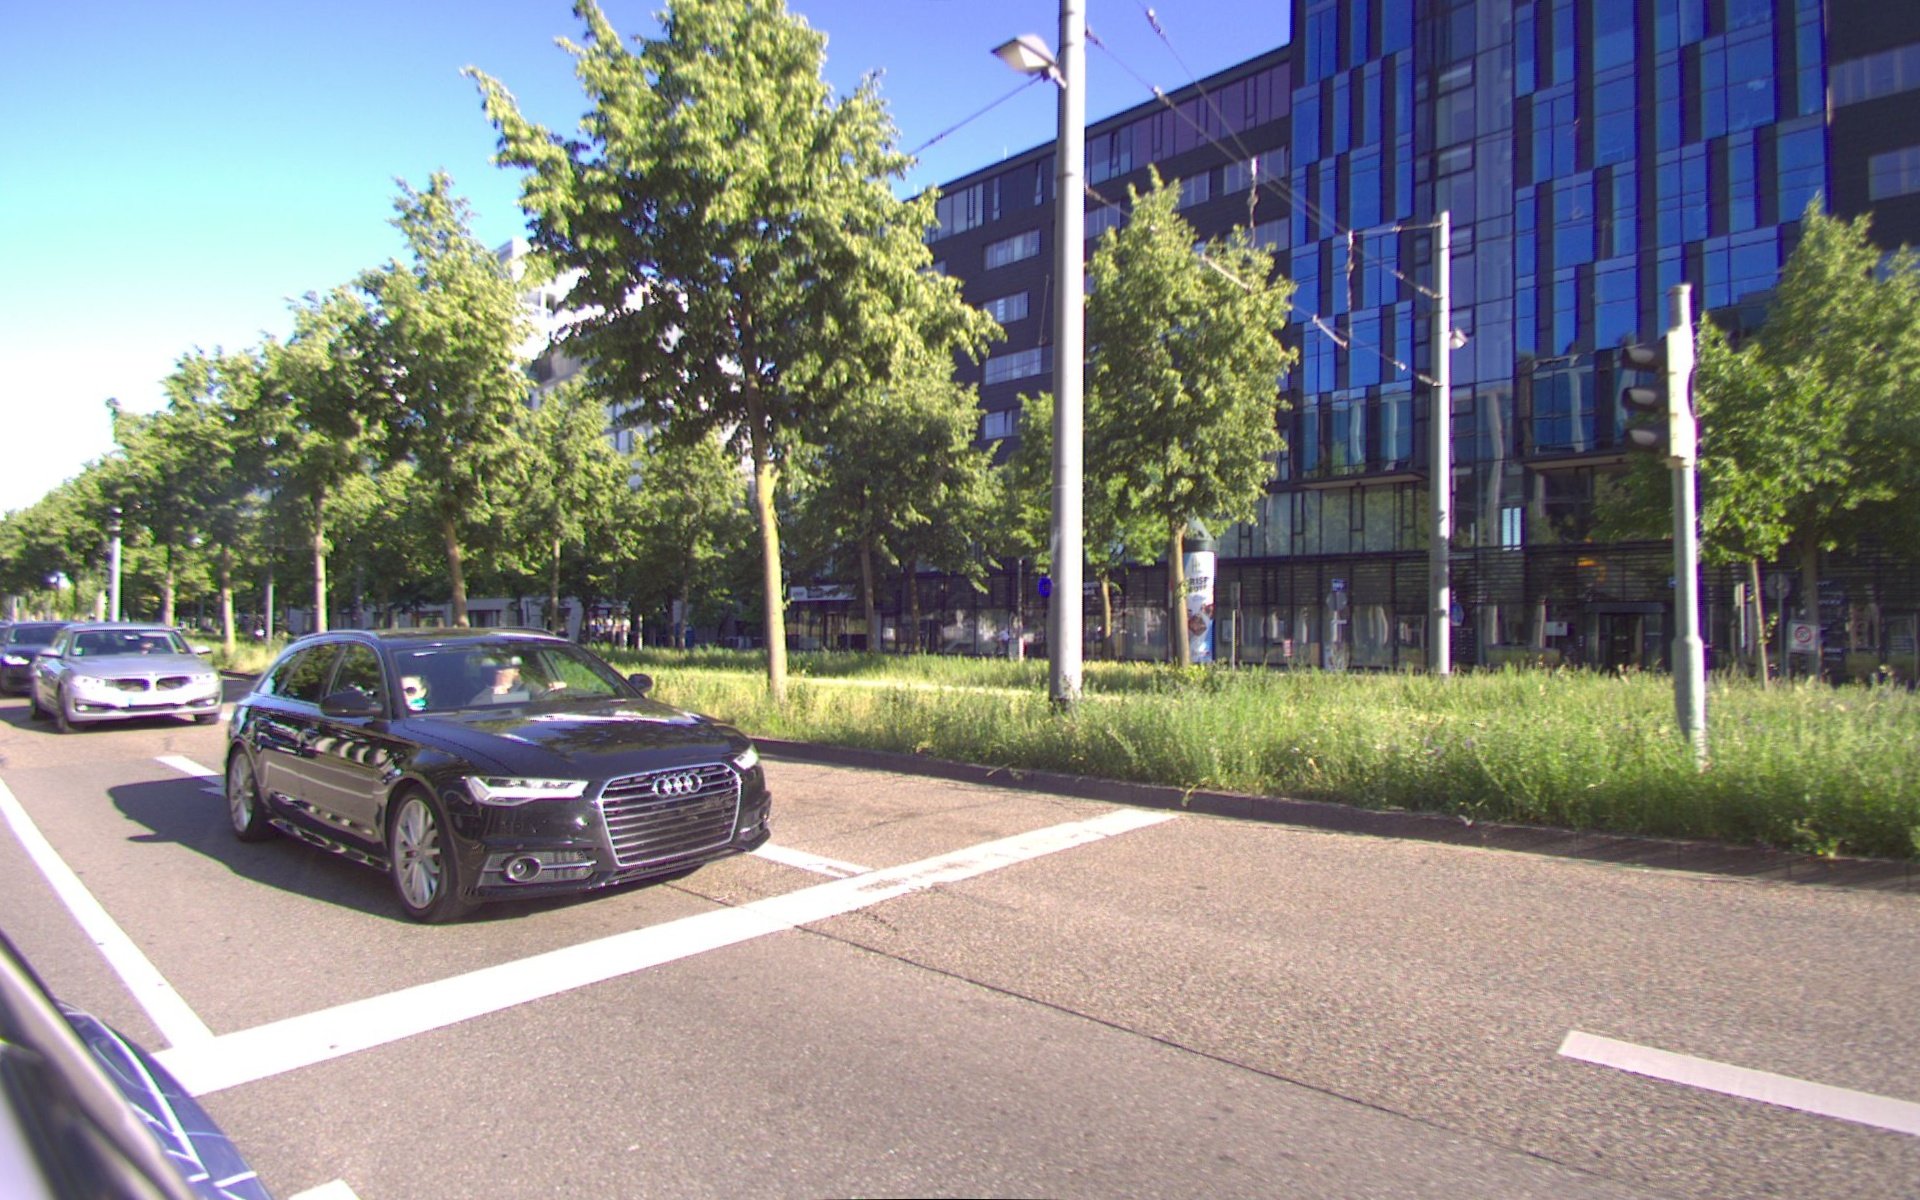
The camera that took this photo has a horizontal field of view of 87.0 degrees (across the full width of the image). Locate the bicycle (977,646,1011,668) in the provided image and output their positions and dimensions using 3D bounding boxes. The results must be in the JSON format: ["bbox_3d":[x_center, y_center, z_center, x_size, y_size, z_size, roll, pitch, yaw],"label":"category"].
[{"bbox_3d":[1.736,2.882,51.560,1.848,1.041,0.521,-1,-1,43],"label":"bicycle"}]

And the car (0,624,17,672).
[{"bbox_3d":[-34.254,1.650,35.291,4.166,1.602,1.787,-2,-3,44],"label":"car"}]

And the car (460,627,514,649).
[{"bbox_3d":[-37.816,3.003,80.882,4.787,1.712,1.987,-1,-2,39],"label":"car"}]

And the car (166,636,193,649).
[{"bbox_3d":[-94.765,5.161,122.807,4.736,1.549,1.833,-1,-3,43],"label":"car"}]

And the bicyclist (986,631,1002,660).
[{"bbox_3d":[1.728,2.316,51.548,0.626,1.416,0.487,-1,-1,43],"label":"bicyclist"}]

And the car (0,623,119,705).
[{"bbox_3d":[-19.065,1.270,21.132,4.029,1.534,1.788,-1,-3,43],"label":"car"}]

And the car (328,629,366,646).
[{"bbox_3d":[-62.709,3.799,103.493,4.791,1.712,1.985,-1,-3,42],"label":"car"}]

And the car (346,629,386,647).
[{"bbox_3d":[-58.450,3.731,99.546,4.791,1.712,1.985,-1,-3,42],"label":"car"}]

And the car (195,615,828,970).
[{"bbox_3d":[-3.026,0.848,6.329,4.503,1.468,1.790,-1,-2,39],"label":"car"}]

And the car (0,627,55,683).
[{"bbox_3d":[-26.578,1.492,28.127,4.255,1.465,1.788,-1,-3,44],"label":"car"}]

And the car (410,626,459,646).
[{"bbox_3d":[-45.569,3.100,87.721,4.787,1.712,1.987,-1,-2,39],"label":"car"}]

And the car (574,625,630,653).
[{"bbox_3d":[-23.534,2.564,66.468,4.000,1.762,1.833,-1,-3,43],"label":"car"}]

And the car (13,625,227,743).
[{"bbox_3d":[-12.688,1.139,15.168,4.741,1.500,1.788,-1,-3,42],"label":"car"}]

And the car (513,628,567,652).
[{"bbox_3d":[-30.626,2.911,73.736,4.792,1.697,1.833,-1,-3,43],"label":"car"}]
